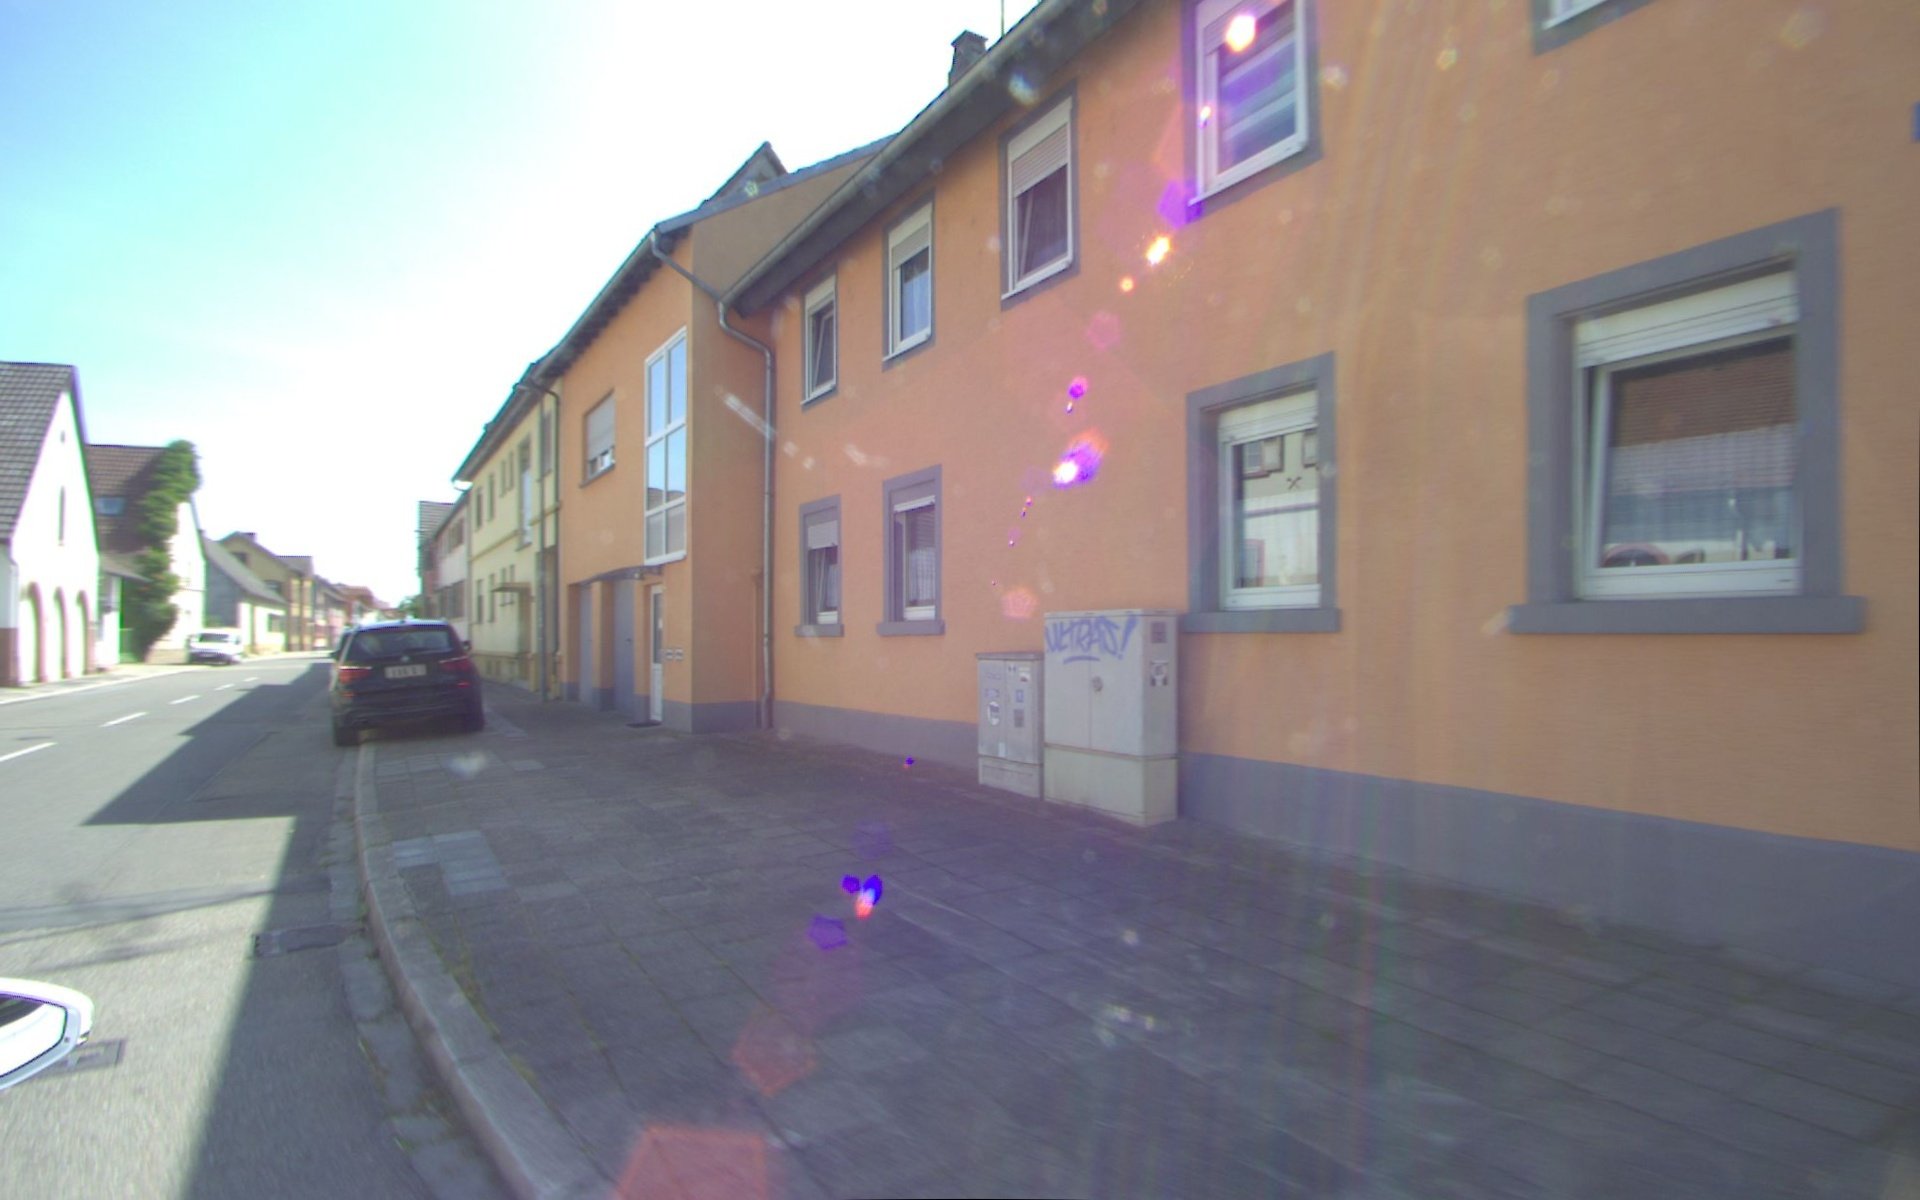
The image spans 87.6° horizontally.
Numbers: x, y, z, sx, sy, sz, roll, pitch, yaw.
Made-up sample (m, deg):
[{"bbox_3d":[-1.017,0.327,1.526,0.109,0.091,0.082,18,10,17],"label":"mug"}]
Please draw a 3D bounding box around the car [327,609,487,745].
[{"bbox_3d":[-8.607,1.063,15.609,1.823,1.725,5.155,-1,-1,-29],"label":"car"}]

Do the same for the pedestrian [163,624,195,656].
[{"bbox_3d":[-39.157,1.994,50.191,1.124,1.571,1.011,1,-2,-32],"label":"pedestrian"}]

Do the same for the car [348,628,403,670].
[{"bbox_3d":[-22.391,1.842,38.282,1.681,1.488,4.385,0,-1,-32],"label":"car"}]

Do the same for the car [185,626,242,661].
[{"bbox_3d":[-37.509,2.160,50.407,1.835,1.668,4.406,1,-2,-31],"label":"car"}]

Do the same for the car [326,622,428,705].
[{"bbox_3d":[-13.627,1.433,23.497,1.877,1.750,4.228,1,-2,-30],"label":"car"}]
